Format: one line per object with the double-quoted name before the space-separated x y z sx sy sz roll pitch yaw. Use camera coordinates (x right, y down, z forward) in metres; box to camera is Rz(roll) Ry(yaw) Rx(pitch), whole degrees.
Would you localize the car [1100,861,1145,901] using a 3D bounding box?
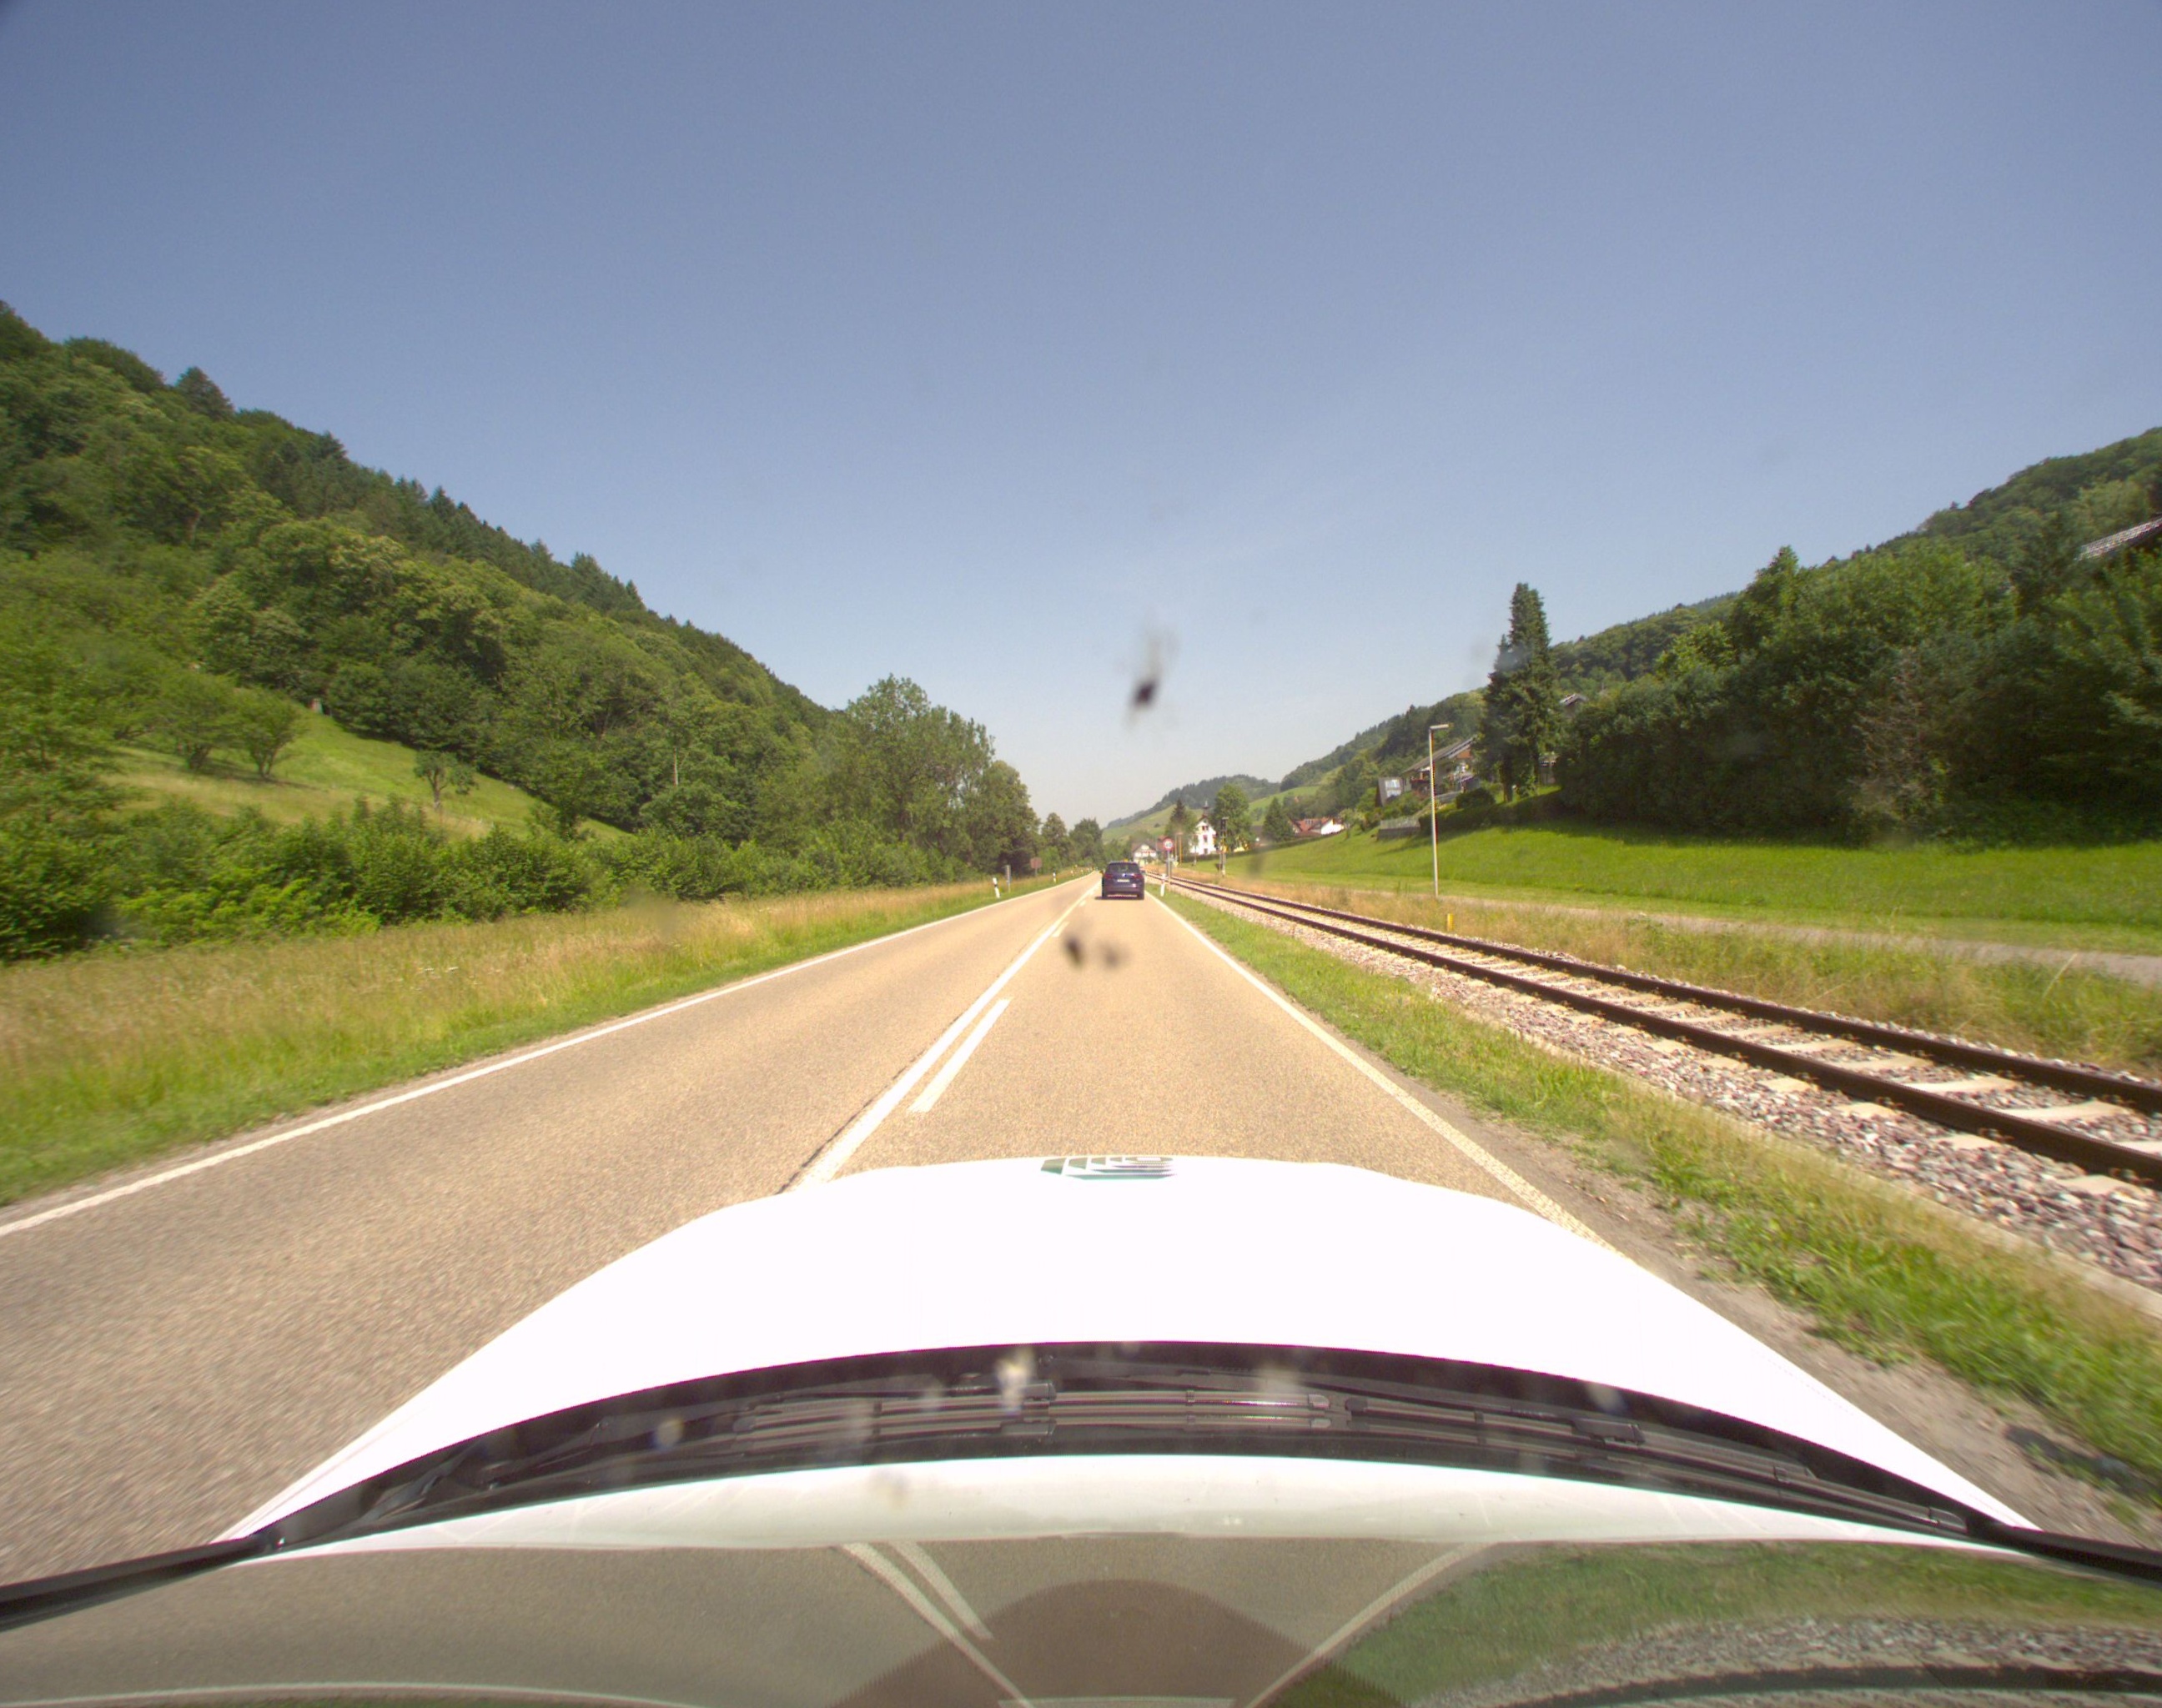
"car" 1.791 1.130 35.567 1.845 1.649 4.141 0 -1 2
